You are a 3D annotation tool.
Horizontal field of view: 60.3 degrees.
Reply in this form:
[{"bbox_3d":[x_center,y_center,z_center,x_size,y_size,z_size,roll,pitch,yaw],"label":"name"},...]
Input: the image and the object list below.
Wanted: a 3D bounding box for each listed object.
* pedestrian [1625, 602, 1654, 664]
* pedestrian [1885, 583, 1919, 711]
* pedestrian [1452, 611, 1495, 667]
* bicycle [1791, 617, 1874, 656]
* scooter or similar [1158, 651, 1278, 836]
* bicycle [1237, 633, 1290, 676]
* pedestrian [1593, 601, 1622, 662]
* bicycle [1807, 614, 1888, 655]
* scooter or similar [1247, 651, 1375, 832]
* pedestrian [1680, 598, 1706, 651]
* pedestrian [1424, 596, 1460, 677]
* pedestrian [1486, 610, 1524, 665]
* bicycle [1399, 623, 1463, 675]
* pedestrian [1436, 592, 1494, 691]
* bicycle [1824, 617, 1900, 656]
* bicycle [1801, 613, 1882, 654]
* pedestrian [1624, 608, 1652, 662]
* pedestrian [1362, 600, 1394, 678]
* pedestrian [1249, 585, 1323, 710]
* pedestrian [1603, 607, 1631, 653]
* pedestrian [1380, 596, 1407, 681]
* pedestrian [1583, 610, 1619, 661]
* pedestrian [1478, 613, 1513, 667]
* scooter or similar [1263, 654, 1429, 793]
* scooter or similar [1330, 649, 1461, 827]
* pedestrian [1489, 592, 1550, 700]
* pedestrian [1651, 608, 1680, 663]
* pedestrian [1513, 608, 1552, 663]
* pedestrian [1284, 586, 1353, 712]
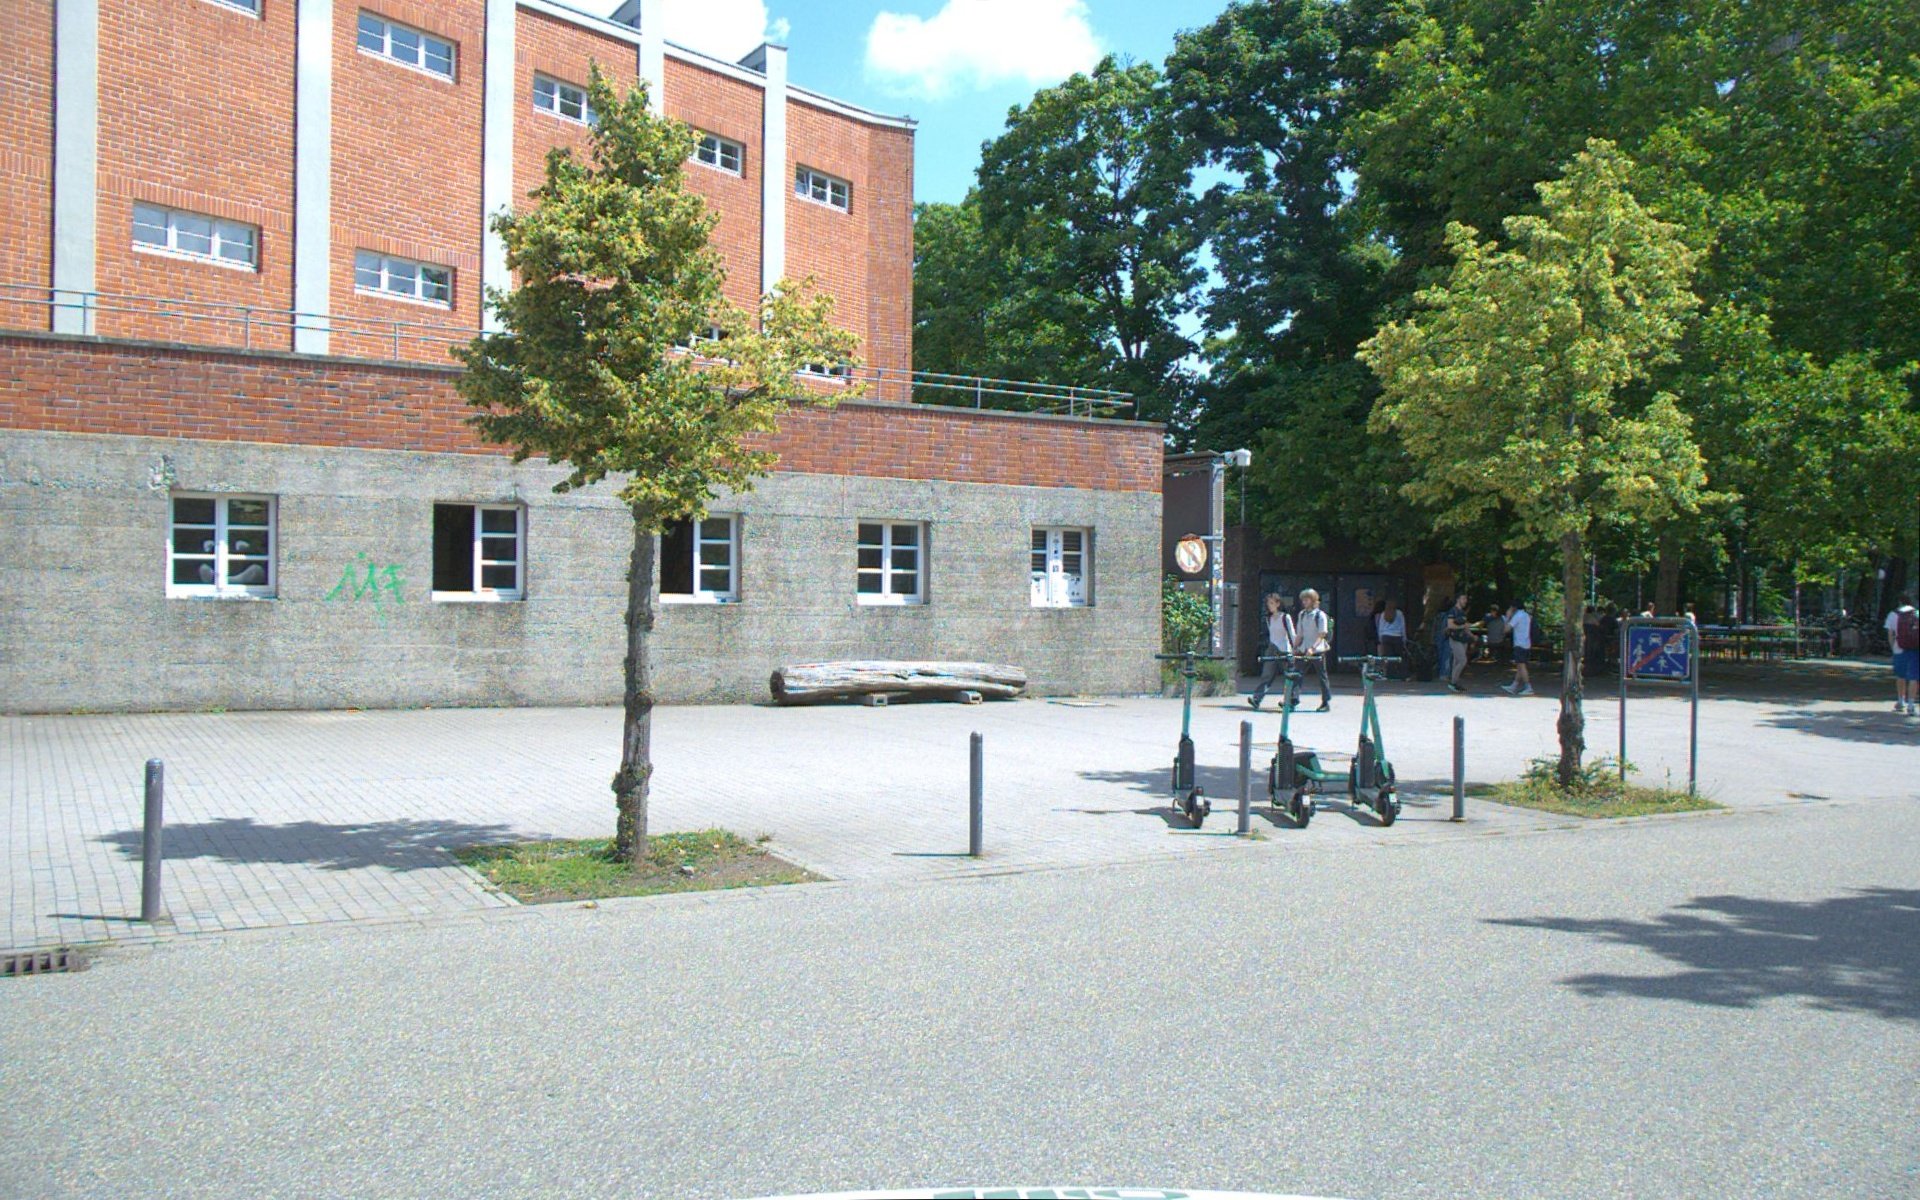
[{"bbox_3d":[15.845,0.765,38.580,0.581,1.393,0.742,1,2,25],"label":"pedestrian"},{"bbox_3d":[14.405,0.698,24.860,0.835,1.867,0.877,1,2,29],"label":"pedestrian"},{"bbox_3d":[12.600,0.947,40.588,0.767,1.346,0.683,1,0,-29],"label":"pedestrian"},{"bbox_3d":[24.390,1.009,46.262,0.579,1.025,1.986,1,0,-39],"label":"bicycle"},{"bbox_3d":[1.909,1.036,12.419,0.557,1.246,1.574,1,0,-3],"label":"scooter or similar"},{"bbox_3d":[6.610,1.182,35.993,1.214,0.899,0.302,1,0,-29],"label":"bicycle"},{"bbox_3d":[15.428,0.743,39.379,0.581,1.393,0.703,1,2,25],"label":"pedestrian"},{"bbox_3d":[25.560,0.973,47.661,0.579,1.138,1.986,1,0,-39],"label":"bicycle"},{"bbox_3d":[2.654,1.041,12.655,0.552,1.246,1.574,1,0,-3],"label":"scooter or similar"},{"bbox_3d":[20.271,0.674,45.759,0.456,1.447,0.499,1,1,-40],"label":"pedestrian"},{"bbox_3d":[10.256,0.765,35.168,0.662,1.679,0.503,1,1,21],"label":"pedestrian"},{"bbox_3d":[13.092,0.884,39.729,0.683,1.293,0.556,1,0,-30],"label":"pedestrian"},{"bbox_3d":[10.317,1.072,36.265,1.317,1.095,0.417,2,-2,16],"label":"bicycle"},{"bbox_3d":[9.179,0.750,30.086,0.860,1.750,0.489,2,-2,-3],"label":"pedestrian"},{"bbox_3d":[27.415,1.109,50.297,0.579,1.138,1.986,1,0,-39],"label":"bicycle"},{"bbox_3d":[25.036,0.937,47.001,0.579,1.138,1.986,1,0,-39],"label":"bicycle"},{"bbox_3d":[16.185,0.826,39.477,0.581,1.254,0.742,1,2,25],"label":"pedestrian"},{"bbox_3d":[8.852,0.823,35.021,0.591,1.621,0.413,1,1,18],"label":"pedestrian"},{"bbox_3d":[4.783,0.688,24.261,0.905,1.810,0.571,1,0,-31],"label":"pedestrian"},{"bbox_3d":[17.627,0.801,44.402,0.723,1.215,0.386,1,1,-40],"label":"pedestrian"},{"bbox_3d":[9.036,0.790,34.472,0.517,1.740,0.448,1,1,15],"label":"pedestrian"},{"bbox_3d":[16.342,0.888,42.170,0.761,1.272,0.562,1,1,-42],"label":"pedestrian"},{"bbox_3d":[13.360,0.994,41.248,0.551,1.346,0.641,1,0,-29],"label":"pedestrian"},{"bbox_3d":[3.410,1.075,14.622,1.325,1.169,0.562,1,0,-19],"label":"scooter or similar"},{"bbox_3d":[3.342,1.029,12.819,0.512,1.246,1.574,1,0,-3],"label":"scooter or similar"},{"bbox_3d":[9.774,0.803,28.899,0.860,1.852,0.449,2,-2,-3],"label":"pedestrian"},{"bbox_3d":[16.712,0.841,39.167,0.581,1.254,0.742,1,2,25],"label":"pedestrian"},{"bbox_3d":[13.919,0.858,40.217,0.683,1.293,0.556,1,0,-30],"label":"pedestrian"},{"bbox_3d":[5.172,0.699,23.864,0.795,1.793,0.559,1,0,-31],"label":"pedestrian"}]
